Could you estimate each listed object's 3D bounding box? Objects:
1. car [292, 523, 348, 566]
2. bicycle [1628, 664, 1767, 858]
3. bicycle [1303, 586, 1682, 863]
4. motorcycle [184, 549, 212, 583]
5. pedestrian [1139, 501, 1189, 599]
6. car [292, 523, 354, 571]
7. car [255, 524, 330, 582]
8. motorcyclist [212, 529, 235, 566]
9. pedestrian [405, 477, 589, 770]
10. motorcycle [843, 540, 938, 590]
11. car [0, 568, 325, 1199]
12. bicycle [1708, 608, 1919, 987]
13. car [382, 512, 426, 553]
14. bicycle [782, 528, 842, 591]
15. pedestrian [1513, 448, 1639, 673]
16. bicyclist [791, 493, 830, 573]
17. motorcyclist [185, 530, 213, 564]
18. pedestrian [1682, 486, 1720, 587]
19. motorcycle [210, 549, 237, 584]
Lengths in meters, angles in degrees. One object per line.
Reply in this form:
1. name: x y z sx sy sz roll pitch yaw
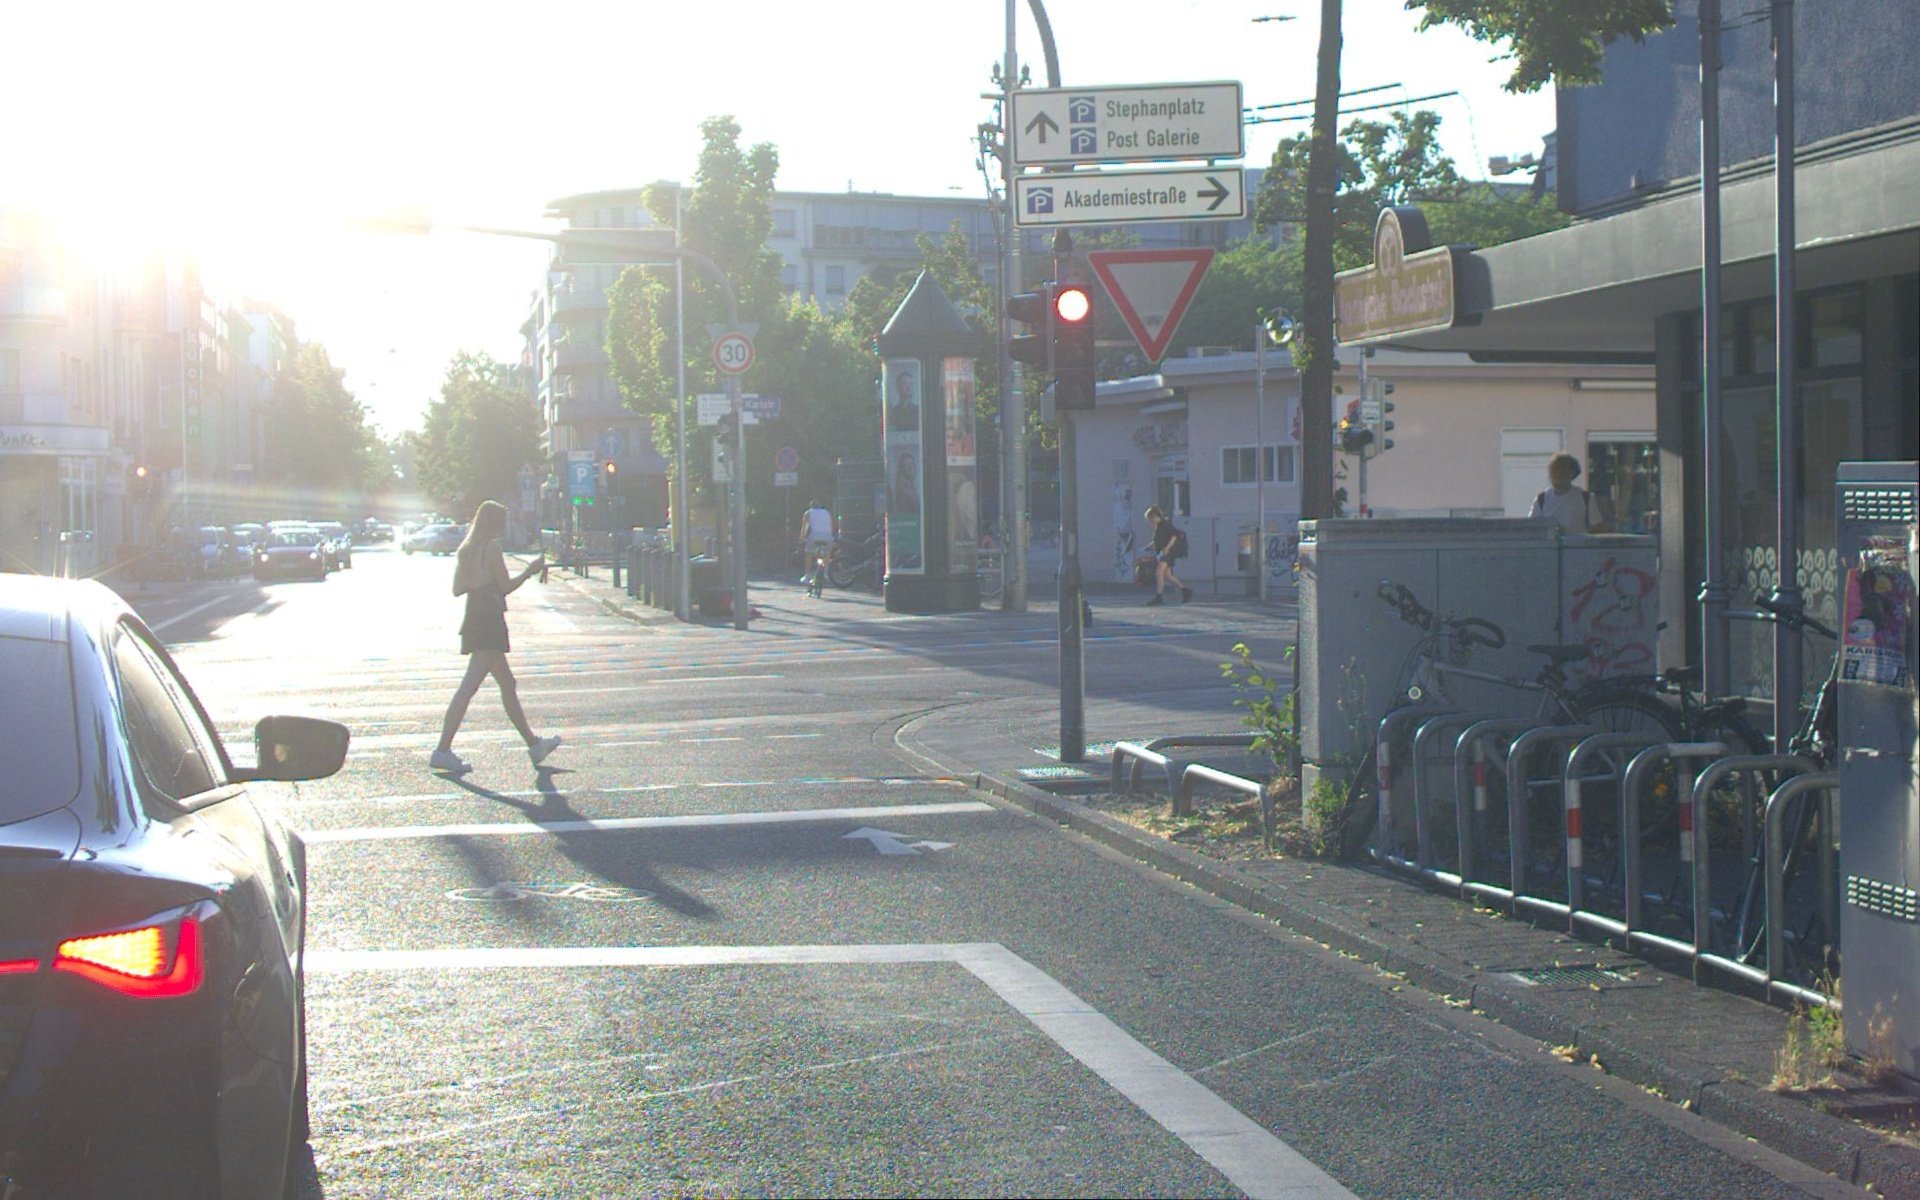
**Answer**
1. car: -23.202 -2.028 124.759 1.817 1.514 4.001 -1 2 -8
2. bicycle: 3.288 0.704 15.382 0.249 0.793 1.116 1 1 -7
3. bicycle: 2.346 0.539 15.166 1.612 1.167 0.318 -1 1 -6
4. motorcycle: -20.862 -0.930 94.151 0.575 0.912 2.201 1 1 -8
5. pedestrian: 3.214 -0.793 54.240 0.732 1.524 0.472 1 1 -1
6. car: -20.922 -1.764 112.971 1.817 1.514 4.001 -1 2 -8
7. car: -18.356 -1.303 94.670 1.817 1.514 4.001 -1 2 -8
8. motorcyclist: -20.062 -1.440 93.645 0.575 0.992 0.703 1 1 -8
9. pedestrian: -3.017 0.137 22.384 1.001 1.854 0.640 -1 1 -28
10. motorcycle: -1.374 -0.690 67.876 1.668 0.935 0.856 -1 2 -19
11. car: -2.115 0.680 6.496 1.736 1.424 4.225 0 1 -10
12. bicycle: 3.242 0.646 11.362 1.440 1.216 0.383 1 1 -7
13. car: -25.870 -3.145 160.045 1.771 1.842 4.001 -1 2 -6
14. bicycle: -2.764 -0.748 63.900 0.550 1.155 2.145 0 1 -18
15. pedestrian: 5.143 -0.336 28.733 0.835 1.835 0.679 -1 1 -8
16. bicyclist: -2.777 -1.242 63.949 0.550 1.476 0.723 0 0 -18
17. motorcyclist: -20.848 -1.460 94.165 0.575 0.912 2.201 1 1 -8
18. pedestrian: 12.677 -1.088 58.808 0.442 1.729 0.434 0 1 -33
19. motorcycle: -20.076 -0.912 93.754 0.575 0.912 2.201 1 1 -8
